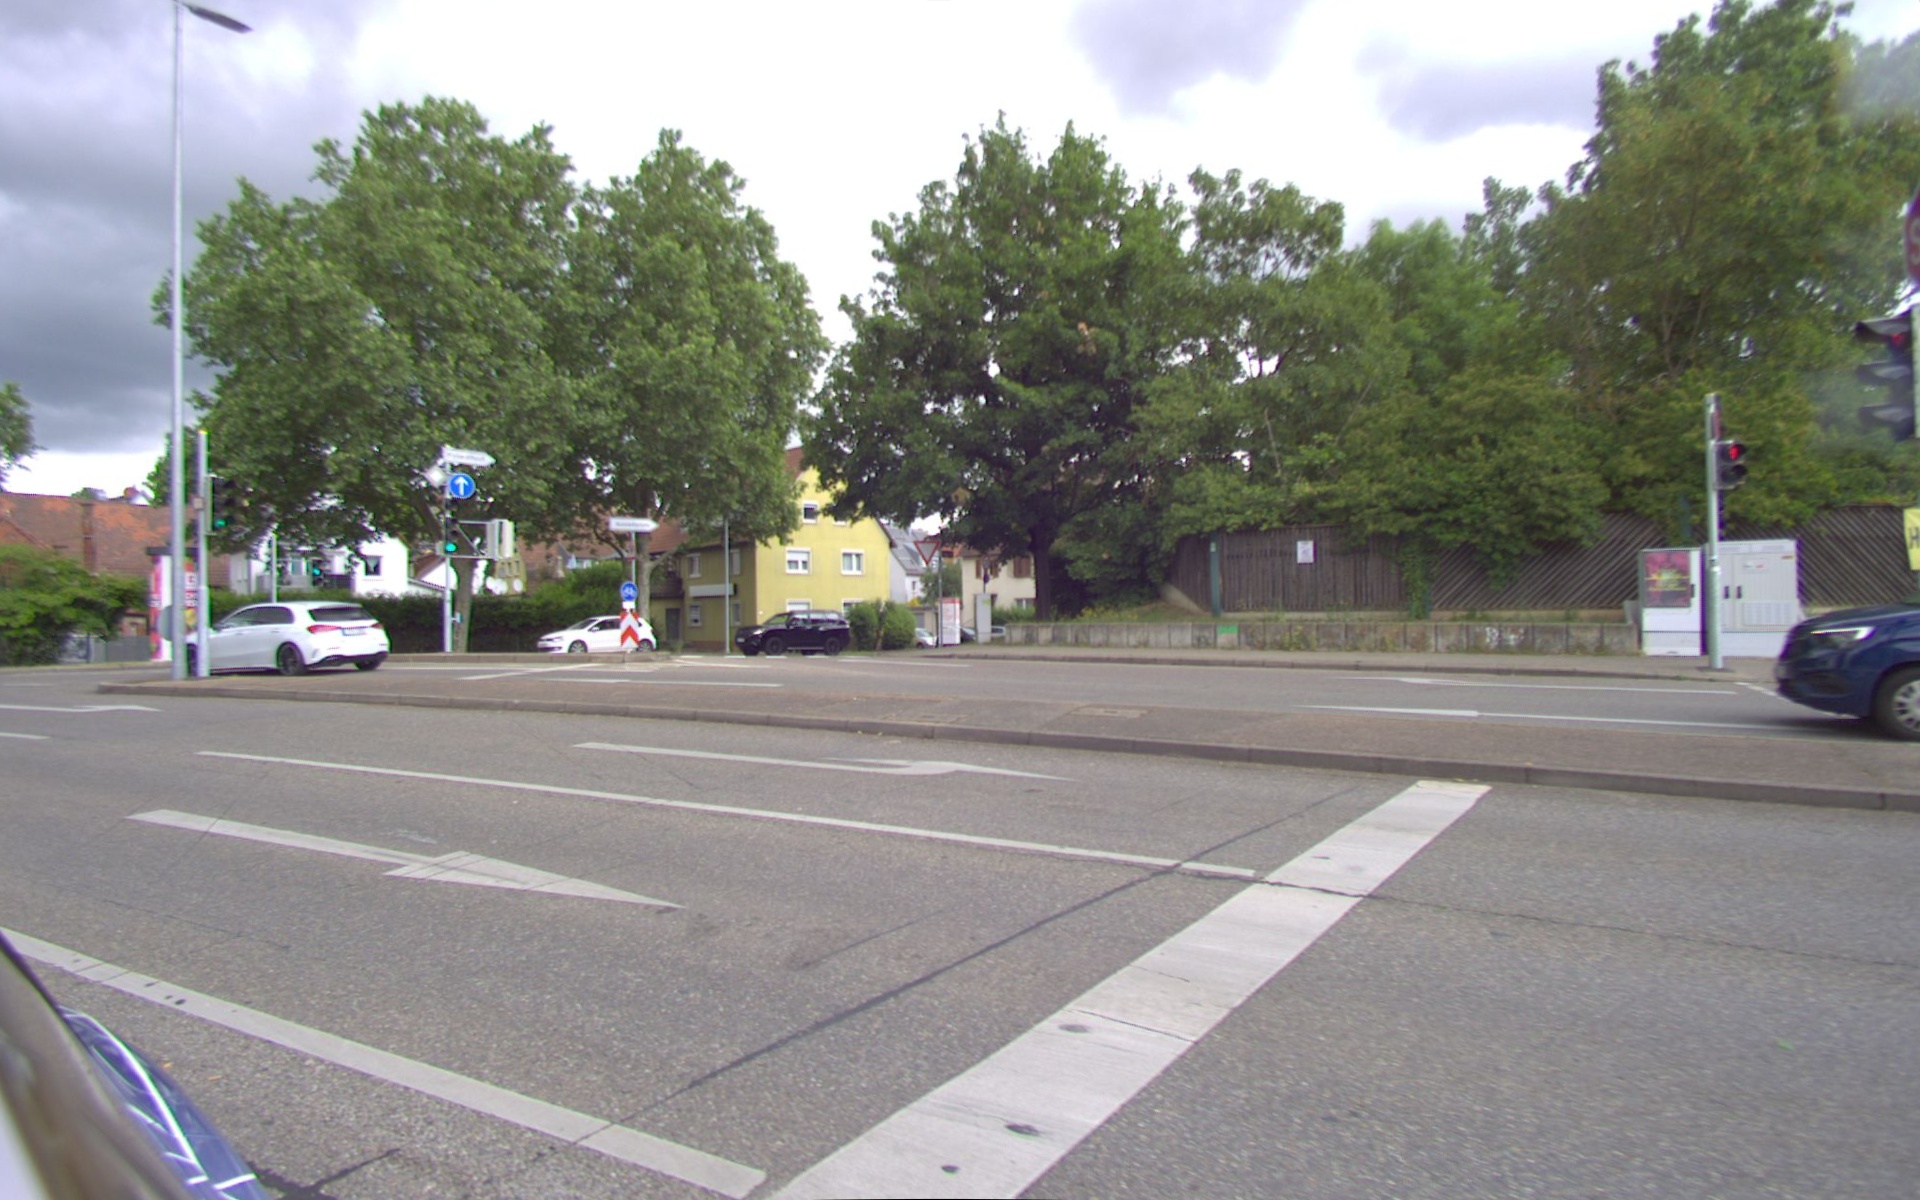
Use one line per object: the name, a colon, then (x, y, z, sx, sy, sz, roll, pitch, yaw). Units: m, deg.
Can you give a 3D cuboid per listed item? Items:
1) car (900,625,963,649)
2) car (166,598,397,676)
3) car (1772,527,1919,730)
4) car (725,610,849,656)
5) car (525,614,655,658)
car: (-1.741, 2.232, 60.570, 1.704, 1.352, 3.812, -1, -1, -41)
car: (-13.388, 0.725, 19.989, 4.090, 1.349, 1.799, -2, 1, 22)
car: (9.811, 0.215, 8.505, 4.463, 1.718, 1.811, 0, 1, 33)
car: (-6.764, 1.262, 39.901, 4.520, 1.665, 1.815, -1, -1, -40)
car: (-12.530, 1.206, 34.391, 1.812, 1.330, 3.749, -2, -1, 43)
